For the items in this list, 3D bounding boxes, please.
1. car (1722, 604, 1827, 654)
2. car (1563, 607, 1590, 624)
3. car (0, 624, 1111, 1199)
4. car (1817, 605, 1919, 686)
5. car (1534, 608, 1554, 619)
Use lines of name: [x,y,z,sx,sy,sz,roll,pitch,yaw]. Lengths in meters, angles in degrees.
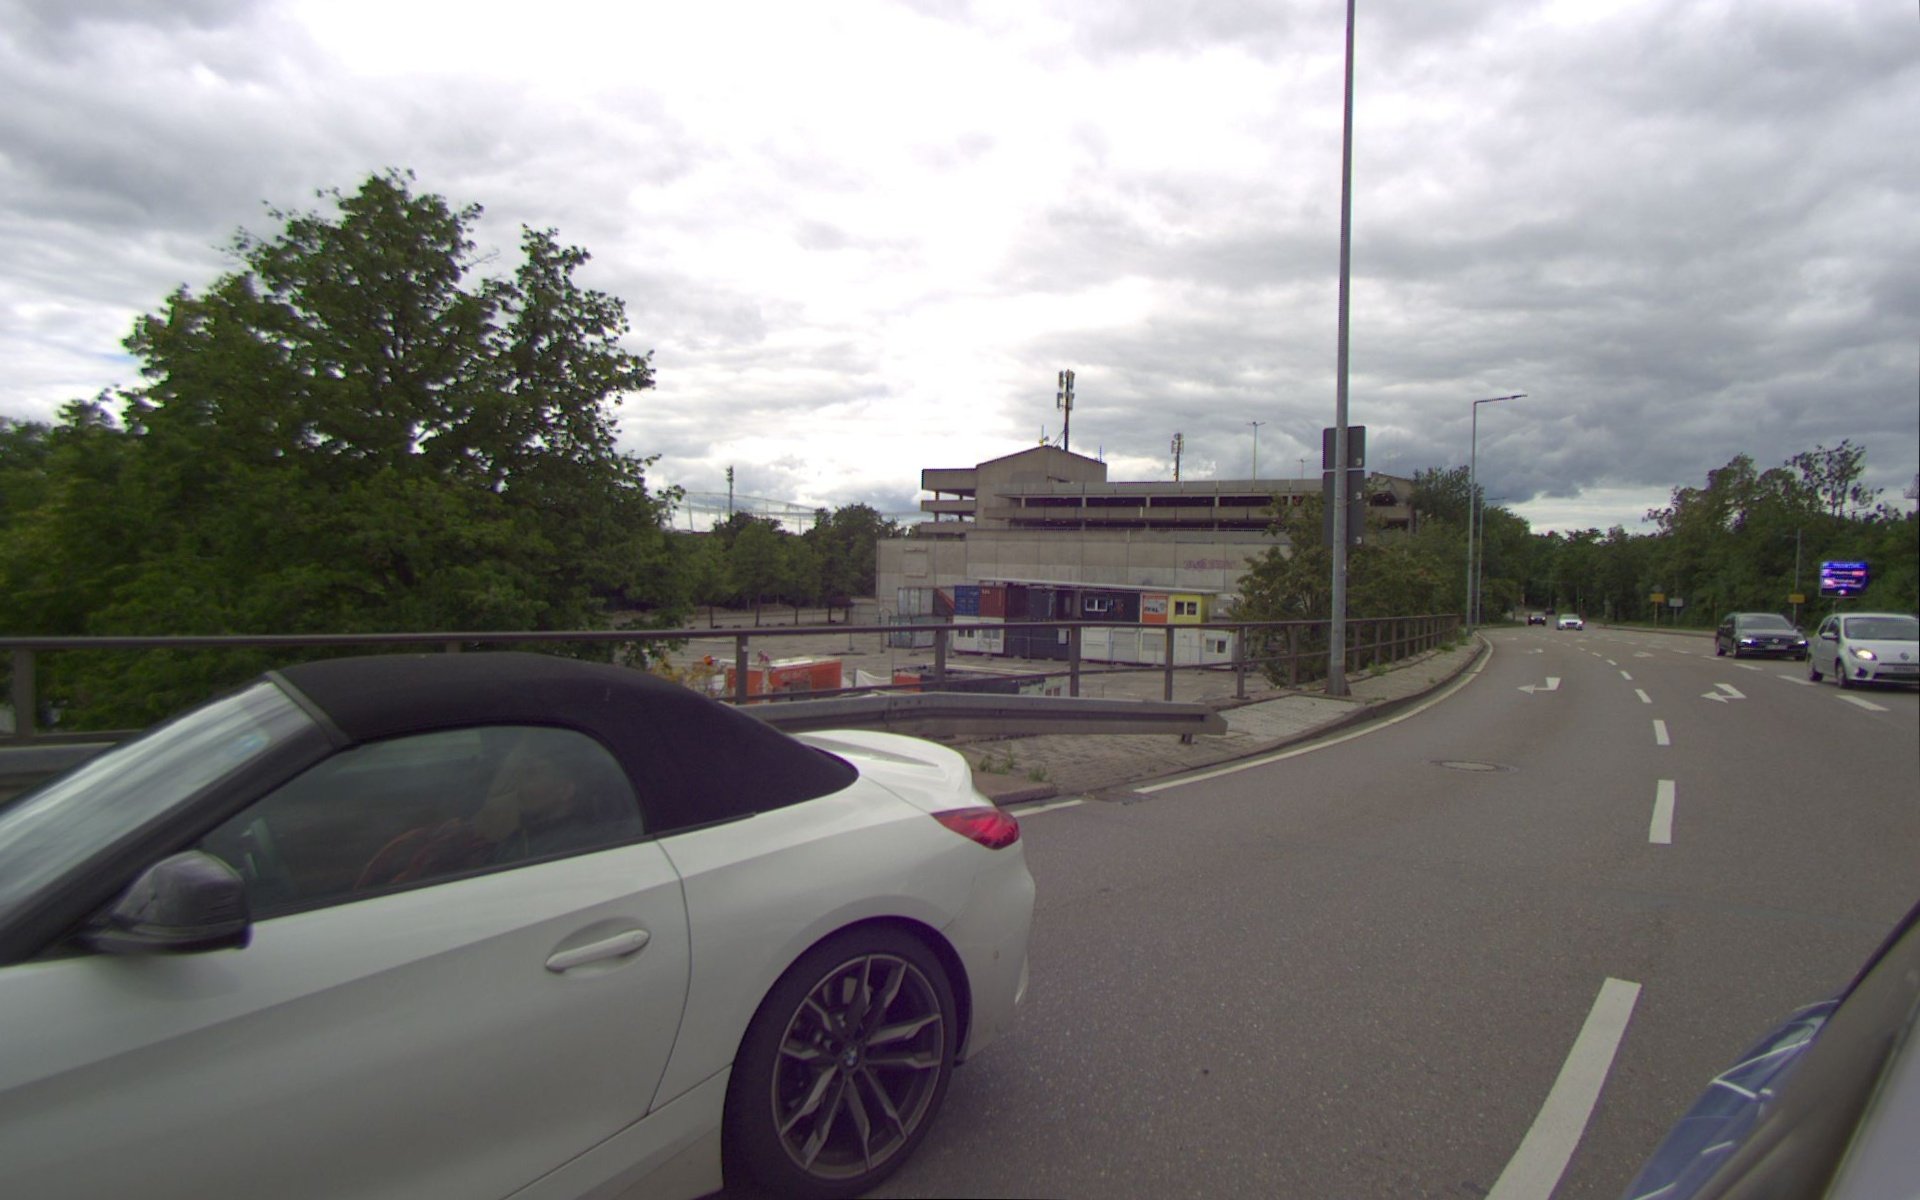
car: [25.532,0.868,31.884,1.849,1.434,4.294,1,0,29]
car: [54.810,1.341,90.042,1.849,1.434,4.295,1,0,28]
car: [-1.735,0.759,2.379,4.186,1.308,1.809,0,0,-39]
car: [18.073,0.826,19.675,1.598,1.434,3.551,1,0,31]
car: [75.096,1.739,130.186,1.848,1.434,4.298,1,0,26]
